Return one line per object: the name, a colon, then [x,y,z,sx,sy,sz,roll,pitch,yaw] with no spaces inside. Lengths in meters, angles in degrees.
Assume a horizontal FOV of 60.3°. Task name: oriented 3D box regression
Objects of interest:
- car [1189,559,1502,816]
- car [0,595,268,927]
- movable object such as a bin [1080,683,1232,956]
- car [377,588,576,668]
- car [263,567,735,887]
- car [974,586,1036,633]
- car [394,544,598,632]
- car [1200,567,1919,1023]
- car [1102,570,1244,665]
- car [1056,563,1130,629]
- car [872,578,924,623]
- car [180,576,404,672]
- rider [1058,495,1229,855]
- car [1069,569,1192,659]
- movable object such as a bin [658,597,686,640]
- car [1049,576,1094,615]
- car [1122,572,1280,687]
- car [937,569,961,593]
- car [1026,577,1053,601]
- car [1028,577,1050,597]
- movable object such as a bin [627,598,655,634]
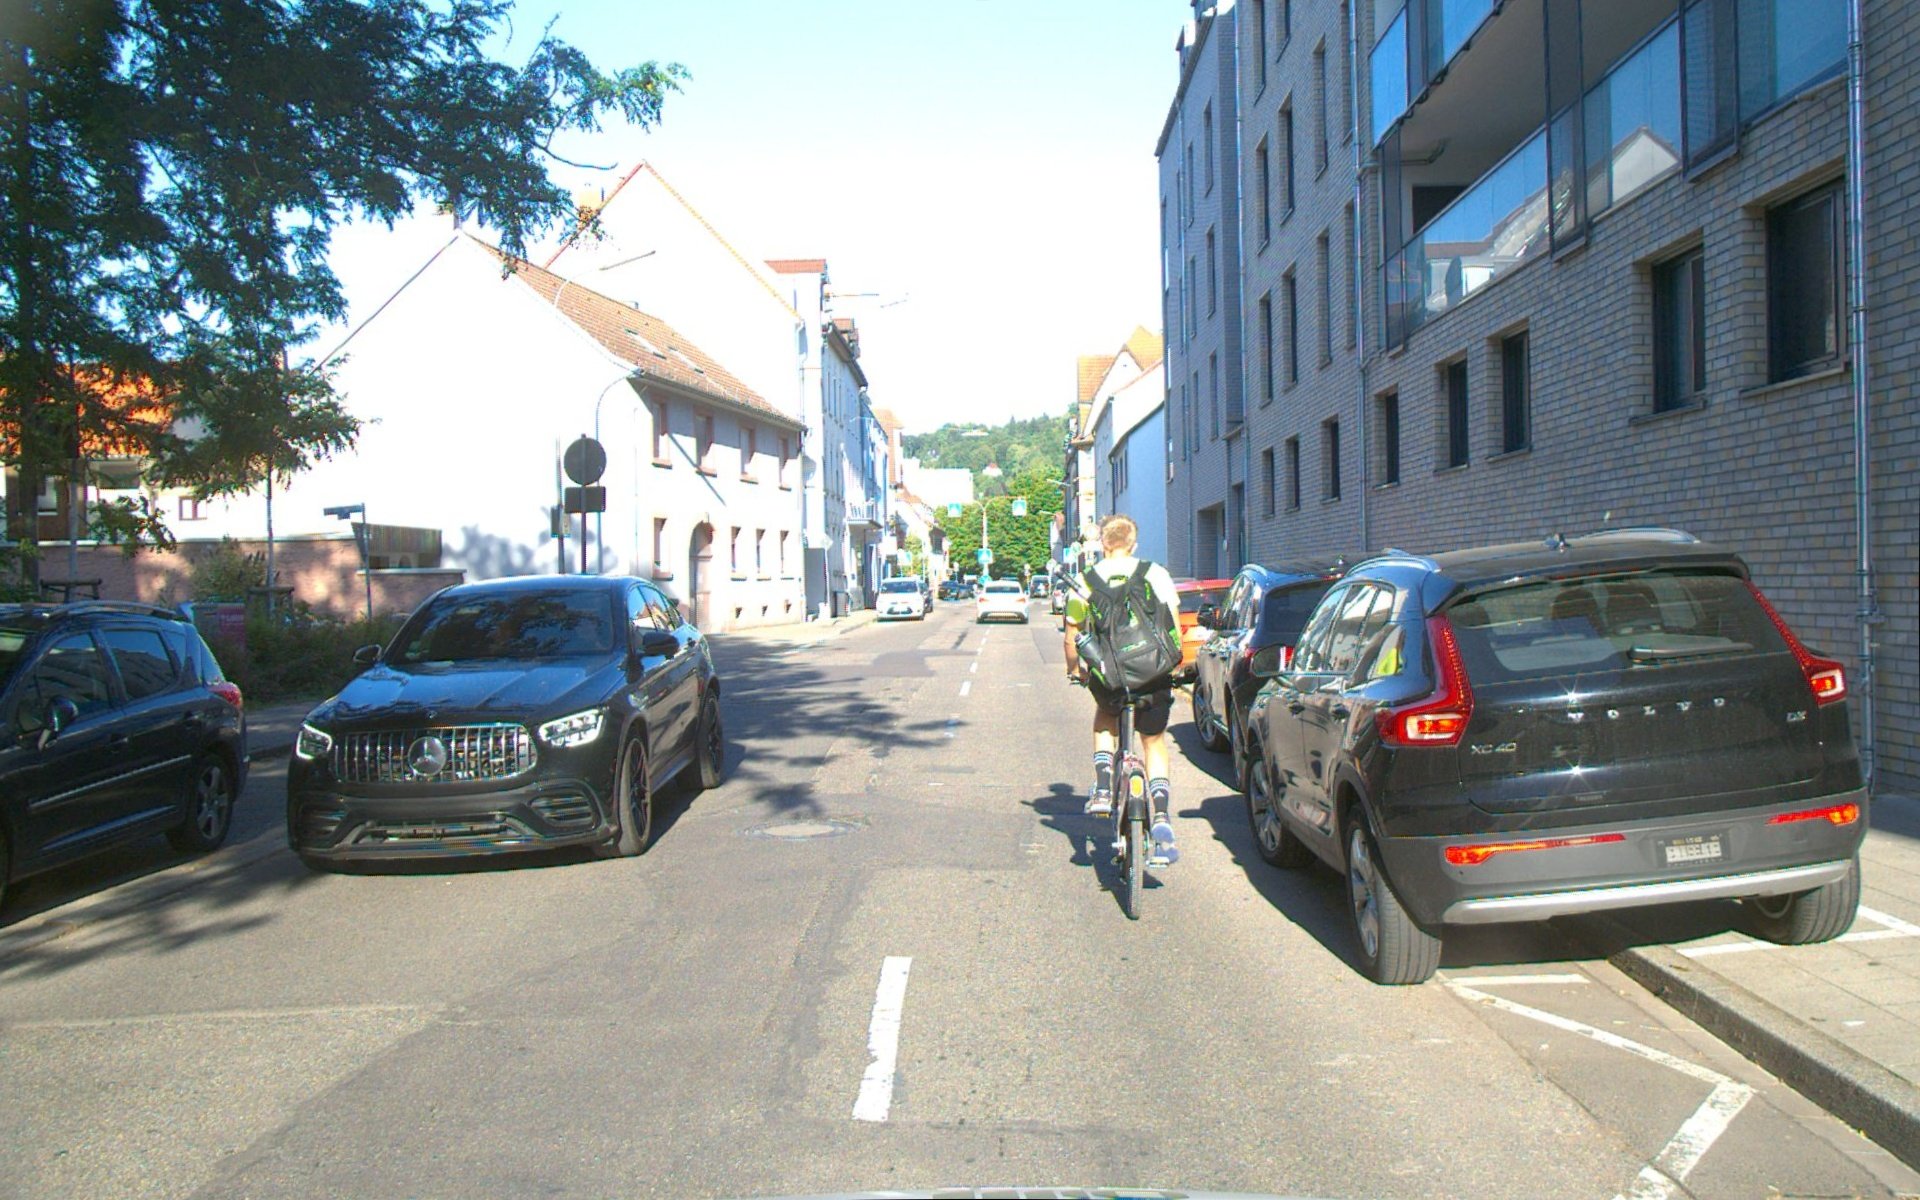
car: [2.957,0.550,13.670,1.850,1.742,4.777,-1,1,5]
car: [-5.303,0.748,8.709,1.662,1.518,3.999,1,0,-1]
movable object such as a bin: [0.883,0.959,7.795,0.445,1.051,1.840,2,-1,-1]
car: [-10.517,0.588,36.172,3.689,1.556,2.001,-2,1,2]
car: [-2.661,0.634,10.665,1.900,1.603,4.318,-1,0,-2]
car: [1.503,0.299,56.696,1.953,1.492,3.999,-1,0,-1]
car: [-11.139,-0.319,39.866,4.273,1.825,1.989,3,3,2]
car: [2.351,0.637,7.686,1.779,1.492,4.269,-1,0,-1]
car: [3.679,0.249,29.249,1.952,1.532,4.367,-1,1,0]
car: [3.748,-0.151,47.271,1.816,1.664,4.624,-3,1,2]
car: [-2.379,-0.035,64.677,1.953,1.676,5.220,0,1,-1]
car: [-14.541,0.496,36.148,3.906,1.525,2.001,-6,3,2]
rider: [0.852,0.341,7.935,0.640,1.589,1.083,2,-1,-1]
car: [3.446,0.231,34.362,1.953,1.682,4.762,-1,1,-1]
movable object such as a bin: [-7.554,0.480,43.429,0.586,1.113,0.751,0,0,2]
car: [4.732,-0.212,70.653,1.705,1.518,4.440,-2,1,2]
car: [3.451,0.372,24.330,1.678,1.428,4.074,-4,1,1]
car: [-0.942,-1.620,140.970,1.953,2.049,4.000,0,1,0]
car: [6.492,-0.907,135.412,1.969,1.885,4.001,0,1,0]
car: [7.025,-1.131,146.766,1.780,1.659,4.003,-2,1,4]
movable object such as a bin: [-8.182,0.403,42.458,0.586,0.887,0.606,-1,0,-1]
